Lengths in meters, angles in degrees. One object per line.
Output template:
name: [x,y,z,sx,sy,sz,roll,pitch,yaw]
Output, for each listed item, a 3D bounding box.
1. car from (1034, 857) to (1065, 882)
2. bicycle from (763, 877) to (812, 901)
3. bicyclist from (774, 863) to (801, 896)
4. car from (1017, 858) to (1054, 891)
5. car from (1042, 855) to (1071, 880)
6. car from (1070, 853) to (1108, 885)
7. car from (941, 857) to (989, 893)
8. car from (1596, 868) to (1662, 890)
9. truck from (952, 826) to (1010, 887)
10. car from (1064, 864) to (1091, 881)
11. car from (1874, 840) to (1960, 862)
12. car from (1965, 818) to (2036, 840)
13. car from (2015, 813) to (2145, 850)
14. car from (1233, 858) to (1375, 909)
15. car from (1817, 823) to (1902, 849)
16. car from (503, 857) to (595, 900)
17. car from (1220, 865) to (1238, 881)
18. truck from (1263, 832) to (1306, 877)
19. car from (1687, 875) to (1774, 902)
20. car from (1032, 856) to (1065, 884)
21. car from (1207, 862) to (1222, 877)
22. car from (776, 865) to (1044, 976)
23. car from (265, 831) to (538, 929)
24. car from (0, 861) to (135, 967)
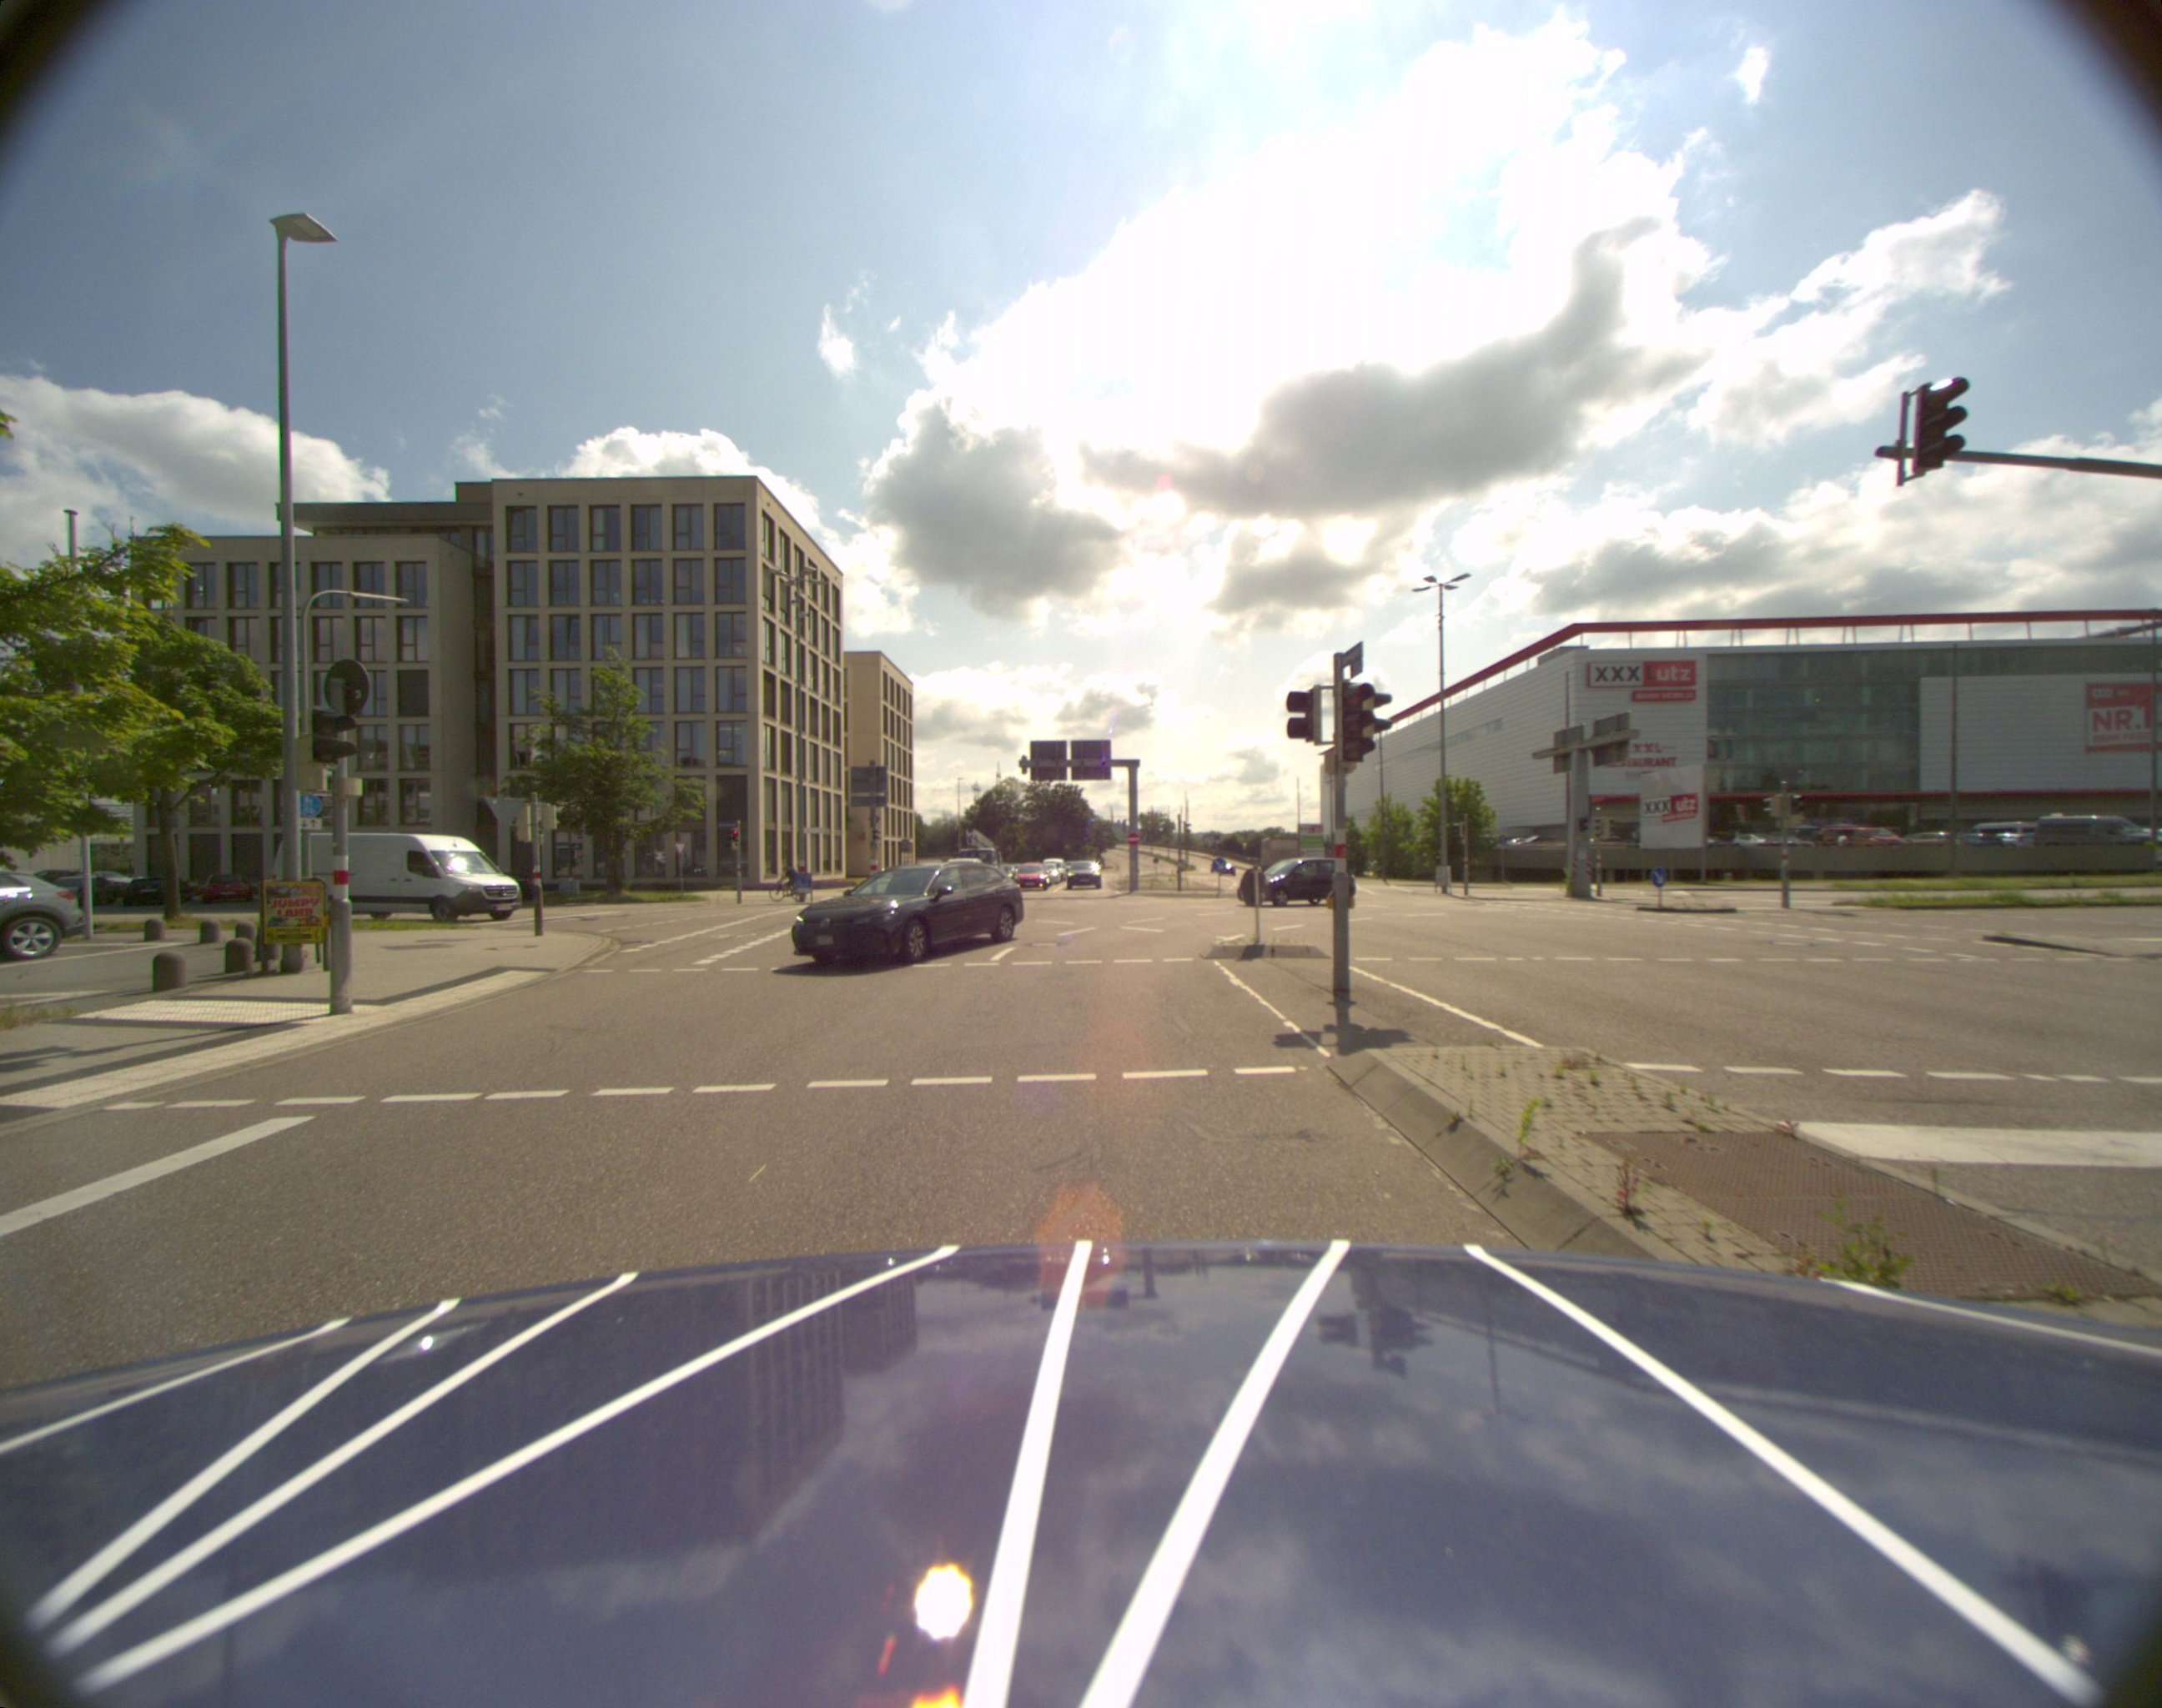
car: [-2.183,1.118,53.659,1.826,1.616,4.214,-2,-2,2]
bicycle: [-13.265,1.590,34.301,1.975,1.005,0.650,-2,-1,9]
bicyclist: [-13.234,1.160,34.300,0.914,1.468,0.639,-2,-1,8]
car: [-2.439,1.112,41.200,1.827,1.616,4.212,-2,-2,-2]
car: [-1.878,1.098,60.069,1.826,1.826,4.448,-2,-2,4]
car: [0.388,0.844,41.594,1.827,1.616,4.212,-2,-2,-2]
car: [-6.369,1.148,42.279,1.999,1.826,4.993,-2,-2,-2]
car: [48.139,2.186,66.829,4.360,1.739,2.000,-1,-1,1]
truck: [-6.342,0.263,49.775,2.673,3.533,9.784,-2,-2,-2]
car: [-0.357,2.055,84.887,1.824,1.826,4.452,-2,-2,16]
car: [64.668,-0.220,58.883,1.953,1.596,4.425,-1,-1,4]
car: [86.747,-2.347,71.753,1.914,1.739,4.002,-2,-2,4]
car: [71.878,-1.540,54.845,1.748,2.269,5.801,-2,-2,2]
car: [7.159,0.951,24.360,4.274,1.521,1.605,1,-1,-21]
car: [59.853,-1.345,58.533,1.916,1.739,4.187,-1,-2,-9]
car: [-27.093,1.247,38.866,1.999,2.001,4.000,-2,-1,-3]
car: [16.437,2.114,84.363,1.862,1.645,4.223,-2,-1,11]
truck: [19.736,0.143,74.213,3.218,4.002,9.080,-2,-2,10]
car: [45.752,2.416,53.573,4.360,1.739,2.000,-1,-1,1]
car: [-1.990,1.019,47.427,1.827,1.616,4.213,-2,-2,0]
car: [17.705,2.048,100.907,1.862,1.644,4.226,-1,-5,10]
car: [-2.547,0.951,12.965,1.810,1.469,5.213,-1,-1,22]
car: [-20.310,0.794,22.821,6.854,2.591,2.141,-2,-1,8]
car: [-18.552,1.046,11.759,1.905,1.668,4.589,-2,1,2]
